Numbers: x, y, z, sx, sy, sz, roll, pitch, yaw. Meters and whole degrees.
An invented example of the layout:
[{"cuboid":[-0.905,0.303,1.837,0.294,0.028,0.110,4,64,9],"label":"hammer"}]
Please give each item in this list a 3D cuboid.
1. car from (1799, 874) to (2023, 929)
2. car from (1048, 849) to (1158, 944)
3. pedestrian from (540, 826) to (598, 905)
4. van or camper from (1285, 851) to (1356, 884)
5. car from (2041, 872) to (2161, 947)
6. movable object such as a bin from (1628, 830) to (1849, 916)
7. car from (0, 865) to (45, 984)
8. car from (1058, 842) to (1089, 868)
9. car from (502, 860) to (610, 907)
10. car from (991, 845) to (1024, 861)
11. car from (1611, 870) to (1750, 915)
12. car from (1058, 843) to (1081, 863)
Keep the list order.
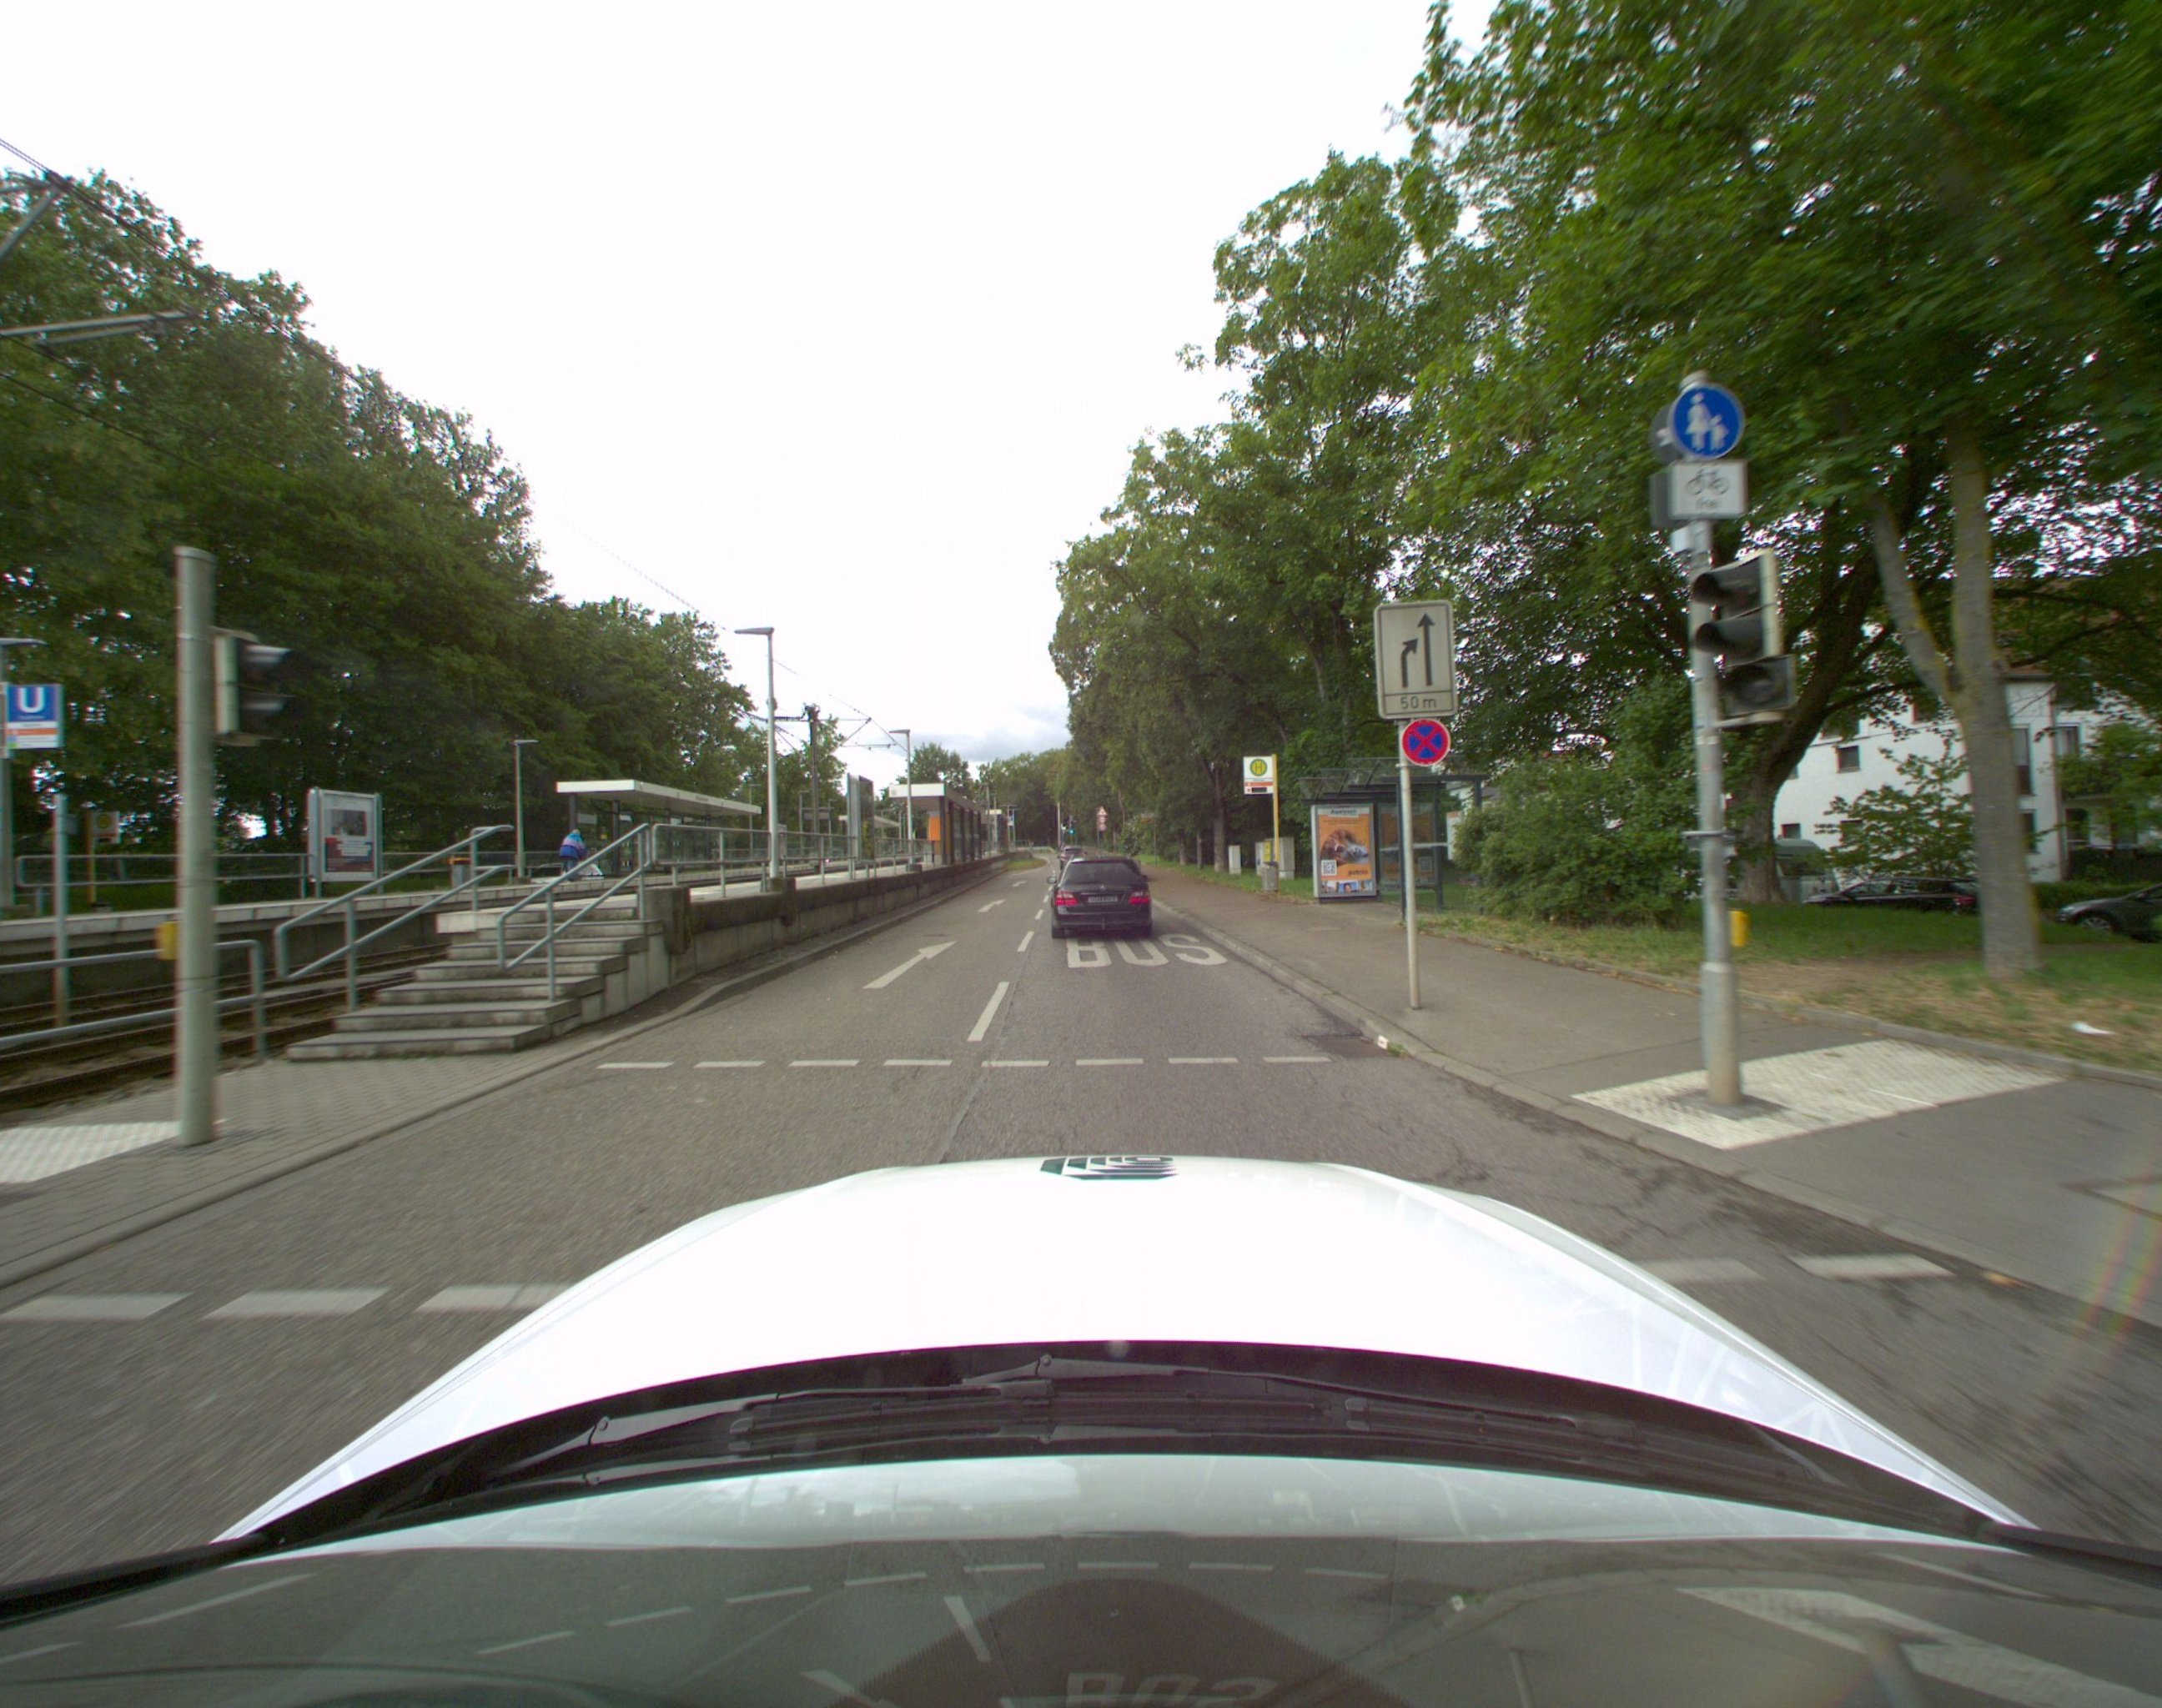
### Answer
[{"cuboid":[21.366,1.173,21.200,1.622,1.246,3.842,1,-1,-12],"label":"car"},{"cuboid":[0.290,0.693,15.529,1.778,1.525,3.996,-1,1,-3],"label":"car"},{"cuboid":[-14.538,0.323,23.140,0.966,2.186,0.976,-1,0,0],"label":"pedestrian"},{"cuboid":[15.653,0.880,53.572,2.177,2.014,5.820,1,-1,-10],"label":"van or camper"},{"cuboid":[22.408,1.116,16.041,1.661,1.461,4.272,1,-1,-12],"label":"car"},{"cuboid":[22.432,0.612,28.275,1.993,2.623,6.251,1,-1,-9],"label":"movable object such as a bin"},{"cuboid":[-17.838,1.095,11.351,1.692,1.860,3.997,0,-1,-2],"label":"car"},{"cuboid":[-0.487,0.079,54.718,1.774,1.648,4.003,-1,0,3],"label":"car"},{"cuboid":[-21.894,1.188,34.197,1.705,1.751,4.397,-3,-1,-1],"label":"car"},{"cuboid":[-9.148,-0.148,100.949,2.011,1.893,3.951,1,-1,-43],"label":"car"},{"cuboid":[20.180,1.246,27.622,1.479,1.386,3.825,1,-1,-11],"label":"car"},{"cuboid":[-1.177,-0.095,81.517,1.991,1.918,3.992,0,-1,-5],"label":"car"}]
